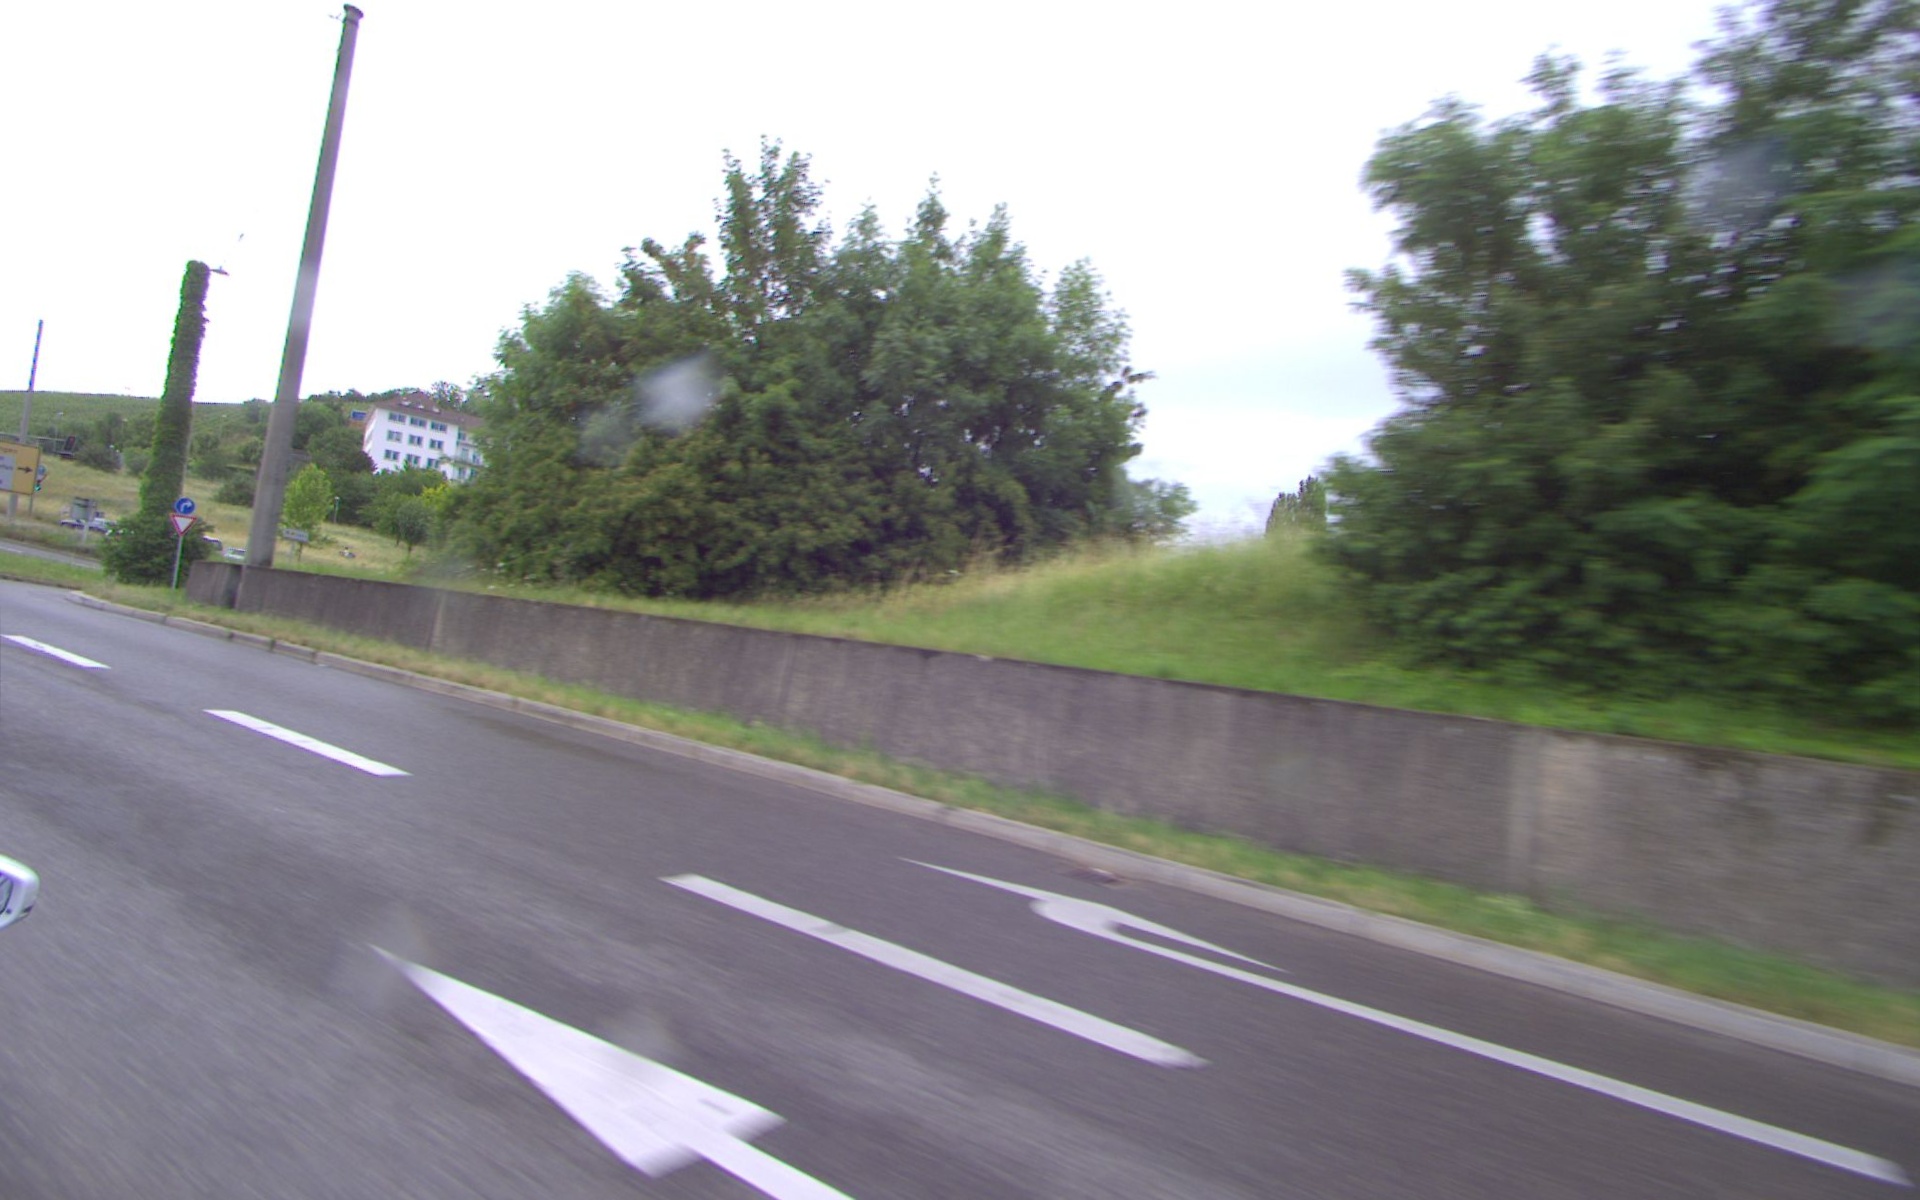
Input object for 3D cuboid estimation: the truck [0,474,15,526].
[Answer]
[{"bbox_3d":[-71.260,-7.726,71.242,6.118,3.568,2.860,11,0,10],"label":"truck"}]
